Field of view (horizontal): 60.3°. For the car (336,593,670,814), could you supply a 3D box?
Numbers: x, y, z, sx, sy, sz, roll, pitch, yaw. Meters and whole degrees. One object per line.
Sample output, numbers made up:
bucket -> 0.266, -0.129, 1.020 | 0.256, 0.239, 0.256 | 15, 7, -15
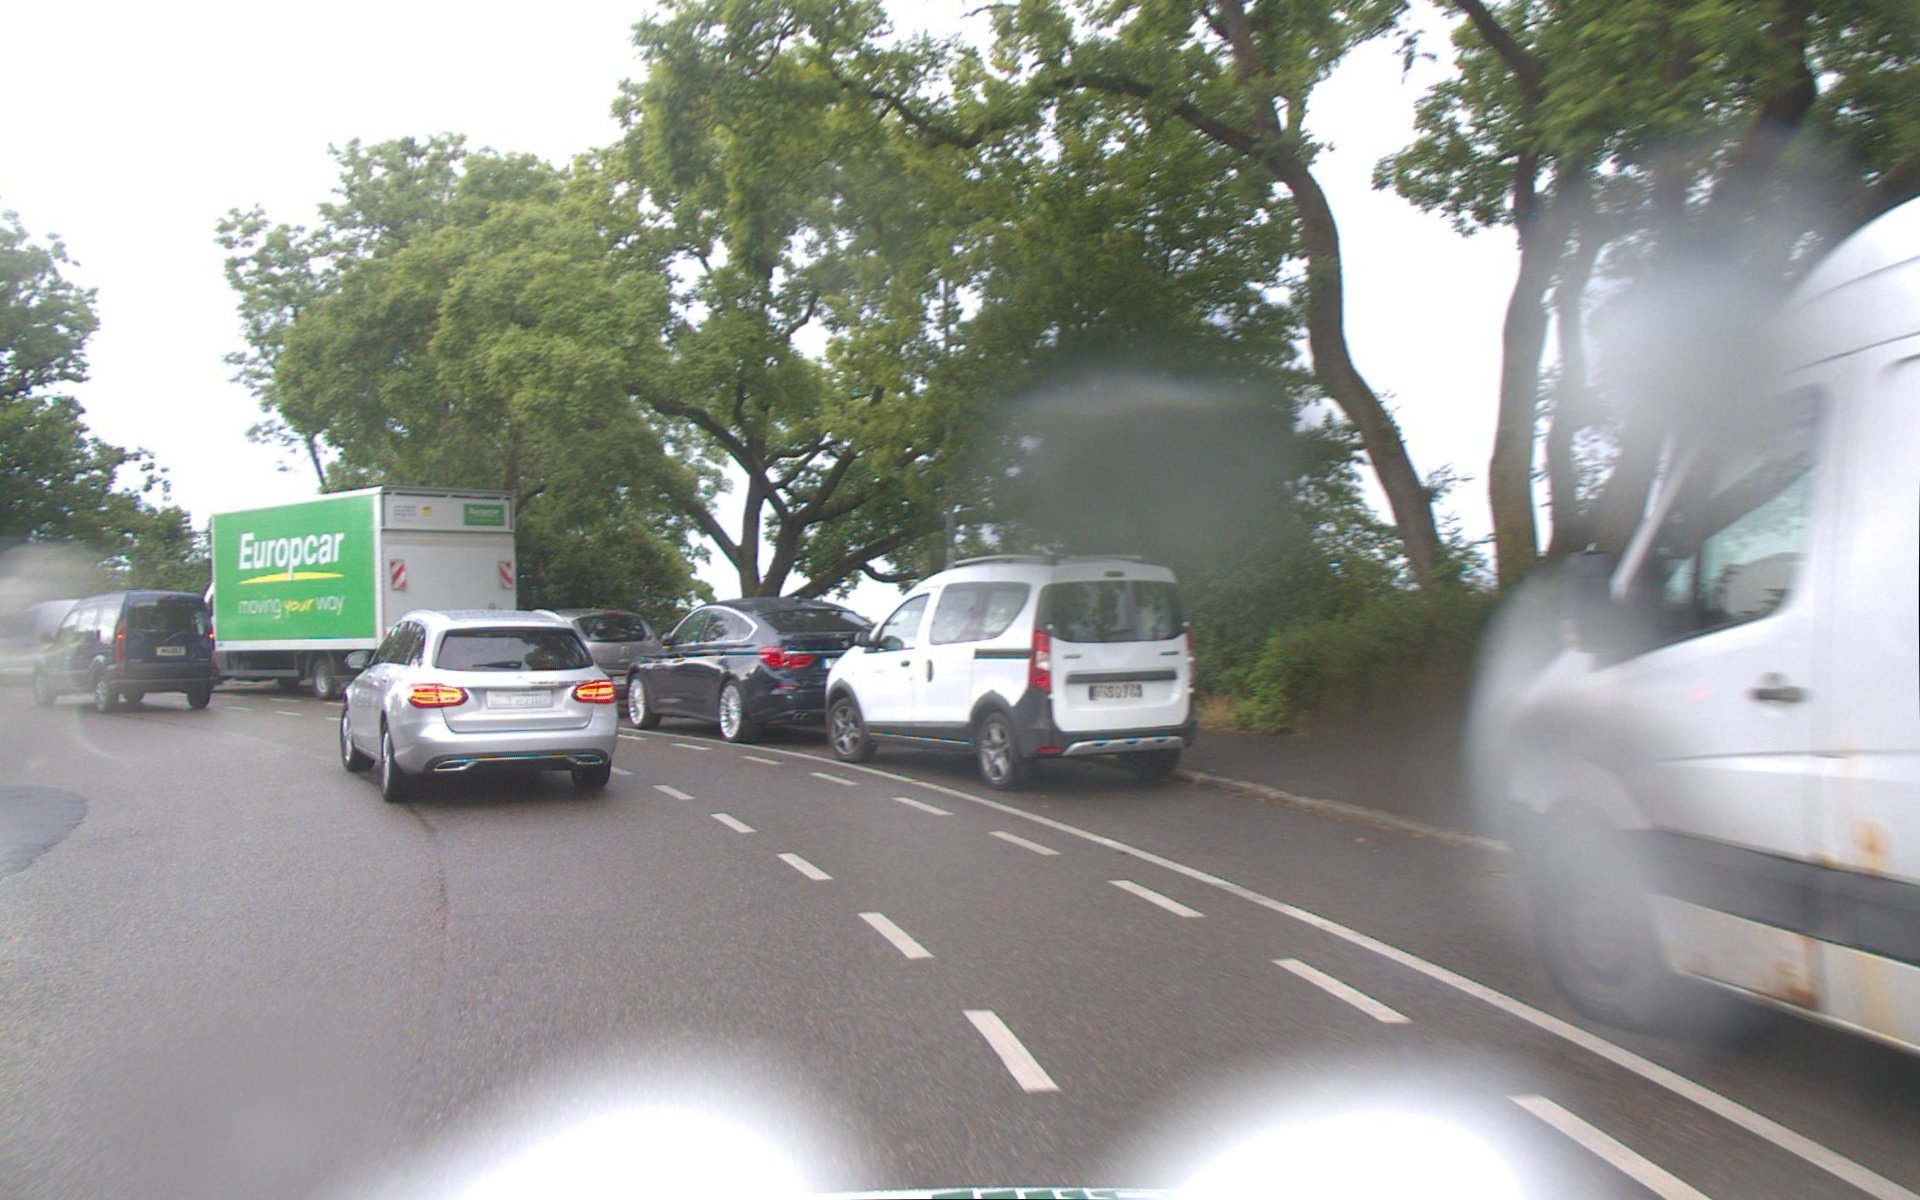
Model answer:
car -> -4.093, 0.789, 14.288 | 1.960, 1.581, 4.259 | 0, -1, -27

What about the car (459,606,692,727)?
car -> -5.680, 0.932, 24.110 | 1.722, 1.529, 4.078 | -3, 0, -38

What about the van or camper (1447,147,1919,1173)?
van or camper -> 3.493, 0.131, 4.099 | 2.028, 2.625, 5.876 | -2, 0, -8

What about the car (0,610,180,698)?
car -> -19.104, 1.161, 35.570 | 4.276, 1.802, 1.865 | -1, -1, 24

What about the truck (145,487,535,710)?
truck -> -11.497, 0.036, 30.109 | 8.769, 3.531, 2.767 | -1, 0, 41

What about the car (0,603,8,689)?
car -> -24.431, 1.075, 37.818 | 4.690, 1.982, 1.867 | -1, -1, 16

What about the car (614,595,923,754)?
car -> -2.423, 0.810, 19.617 | 1.841, 1.569, 4.844 | -3, 0, -30

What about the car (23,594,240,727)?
car -> -13.354, 0.944, 26.563 | 4.024, 1.915, 1.818 | -2, 0, 44

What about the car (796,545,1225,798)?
car -> 0.261, 0.559, 14.740 | 1.729, 1.853, 4.378 | -2, 0, -30
